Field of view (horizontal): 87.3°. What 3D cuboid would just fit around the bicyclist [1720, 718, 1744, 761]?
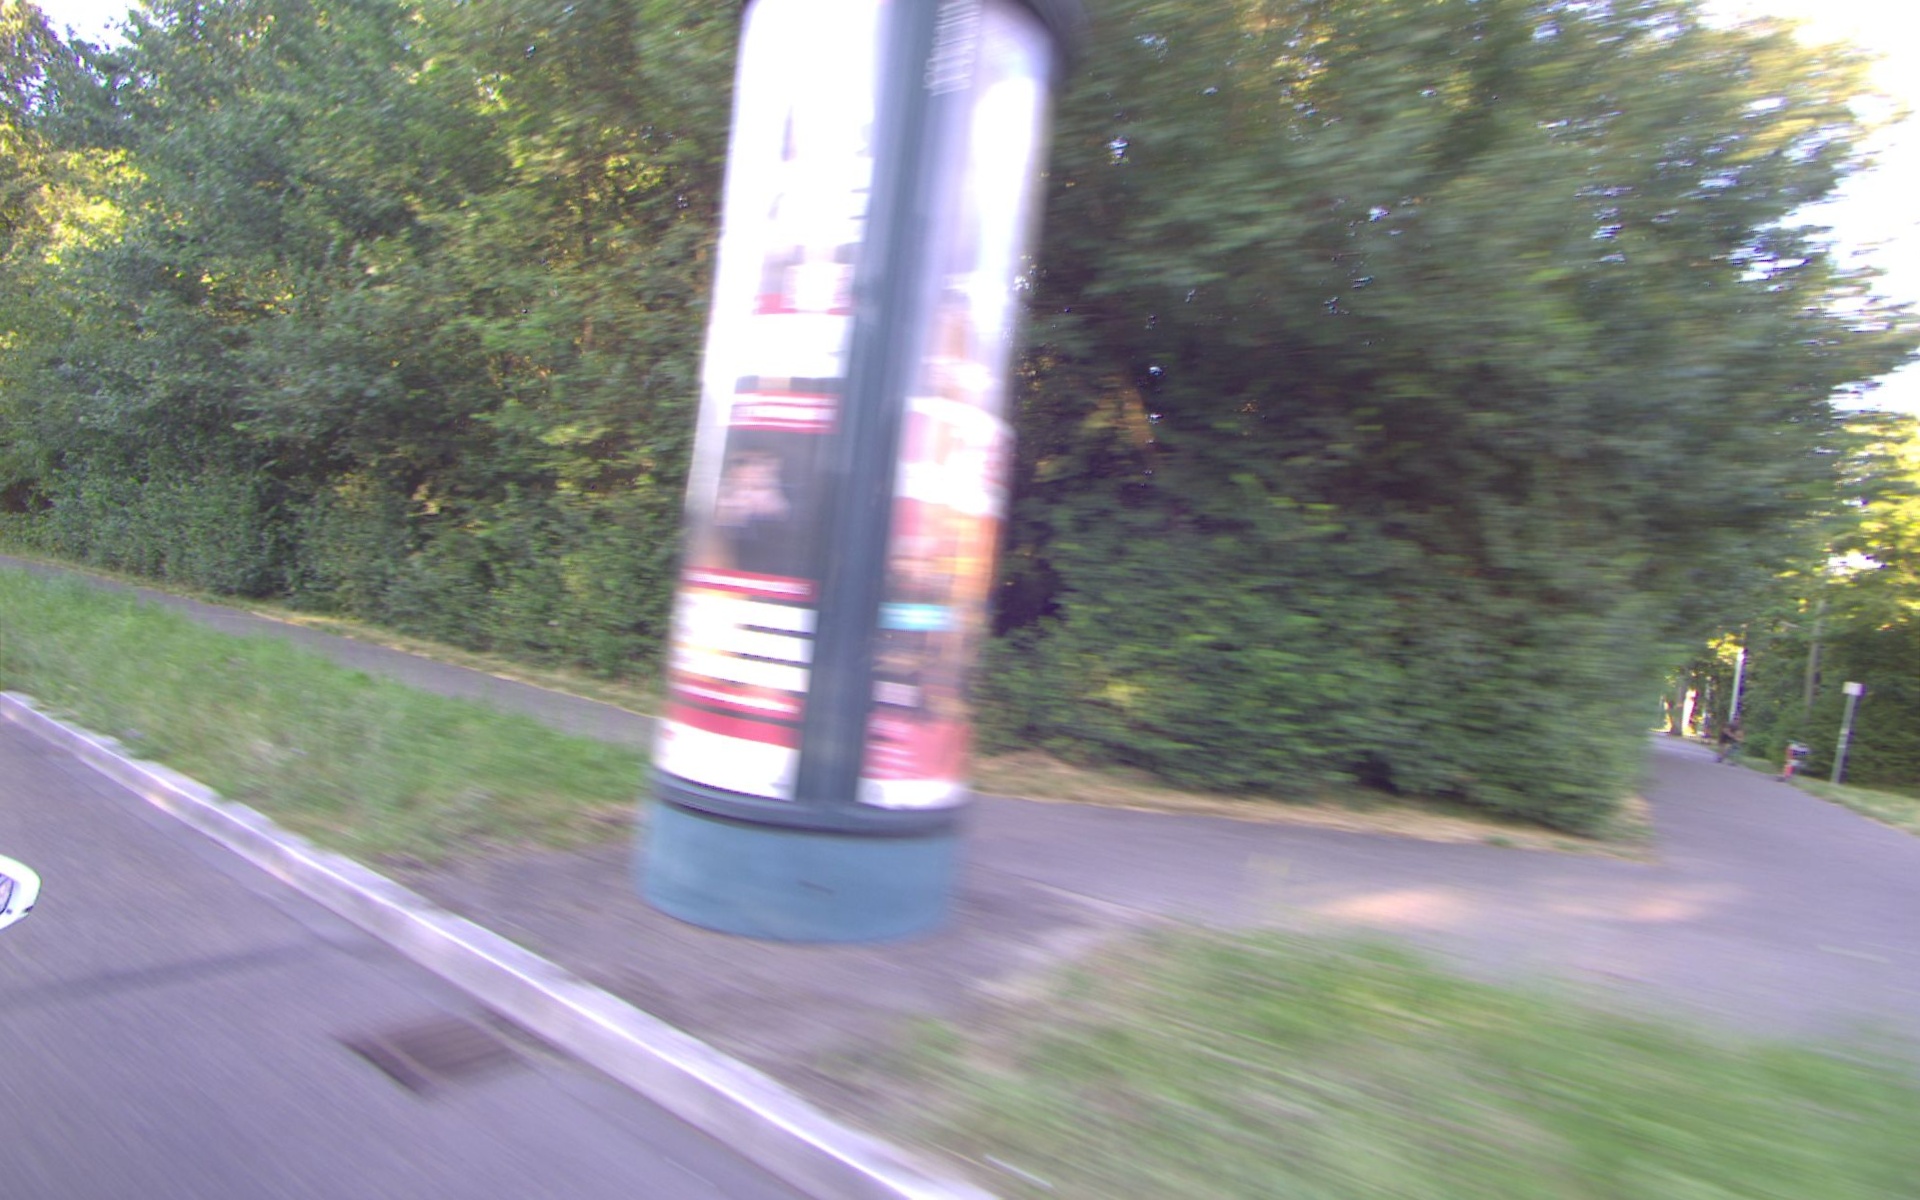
[{"bbox_3d":[27.699,4.996,36.100,0.487,1.434,0.567,7,0,30],"label":"bicyclist"}]

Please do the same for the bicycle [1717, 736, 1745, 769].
[{"bbox_3d":[27.611,5.438,36.037,0.494,1.027,1.525,7,-1,30],"label":"bicycle"}]

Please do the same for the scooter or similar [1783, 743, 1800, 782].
[{"bbox_3d":[24.011,4.695,29.061,0.831,1.098,0.192,8,-3,-42],"label":"scooter or similar"}]
